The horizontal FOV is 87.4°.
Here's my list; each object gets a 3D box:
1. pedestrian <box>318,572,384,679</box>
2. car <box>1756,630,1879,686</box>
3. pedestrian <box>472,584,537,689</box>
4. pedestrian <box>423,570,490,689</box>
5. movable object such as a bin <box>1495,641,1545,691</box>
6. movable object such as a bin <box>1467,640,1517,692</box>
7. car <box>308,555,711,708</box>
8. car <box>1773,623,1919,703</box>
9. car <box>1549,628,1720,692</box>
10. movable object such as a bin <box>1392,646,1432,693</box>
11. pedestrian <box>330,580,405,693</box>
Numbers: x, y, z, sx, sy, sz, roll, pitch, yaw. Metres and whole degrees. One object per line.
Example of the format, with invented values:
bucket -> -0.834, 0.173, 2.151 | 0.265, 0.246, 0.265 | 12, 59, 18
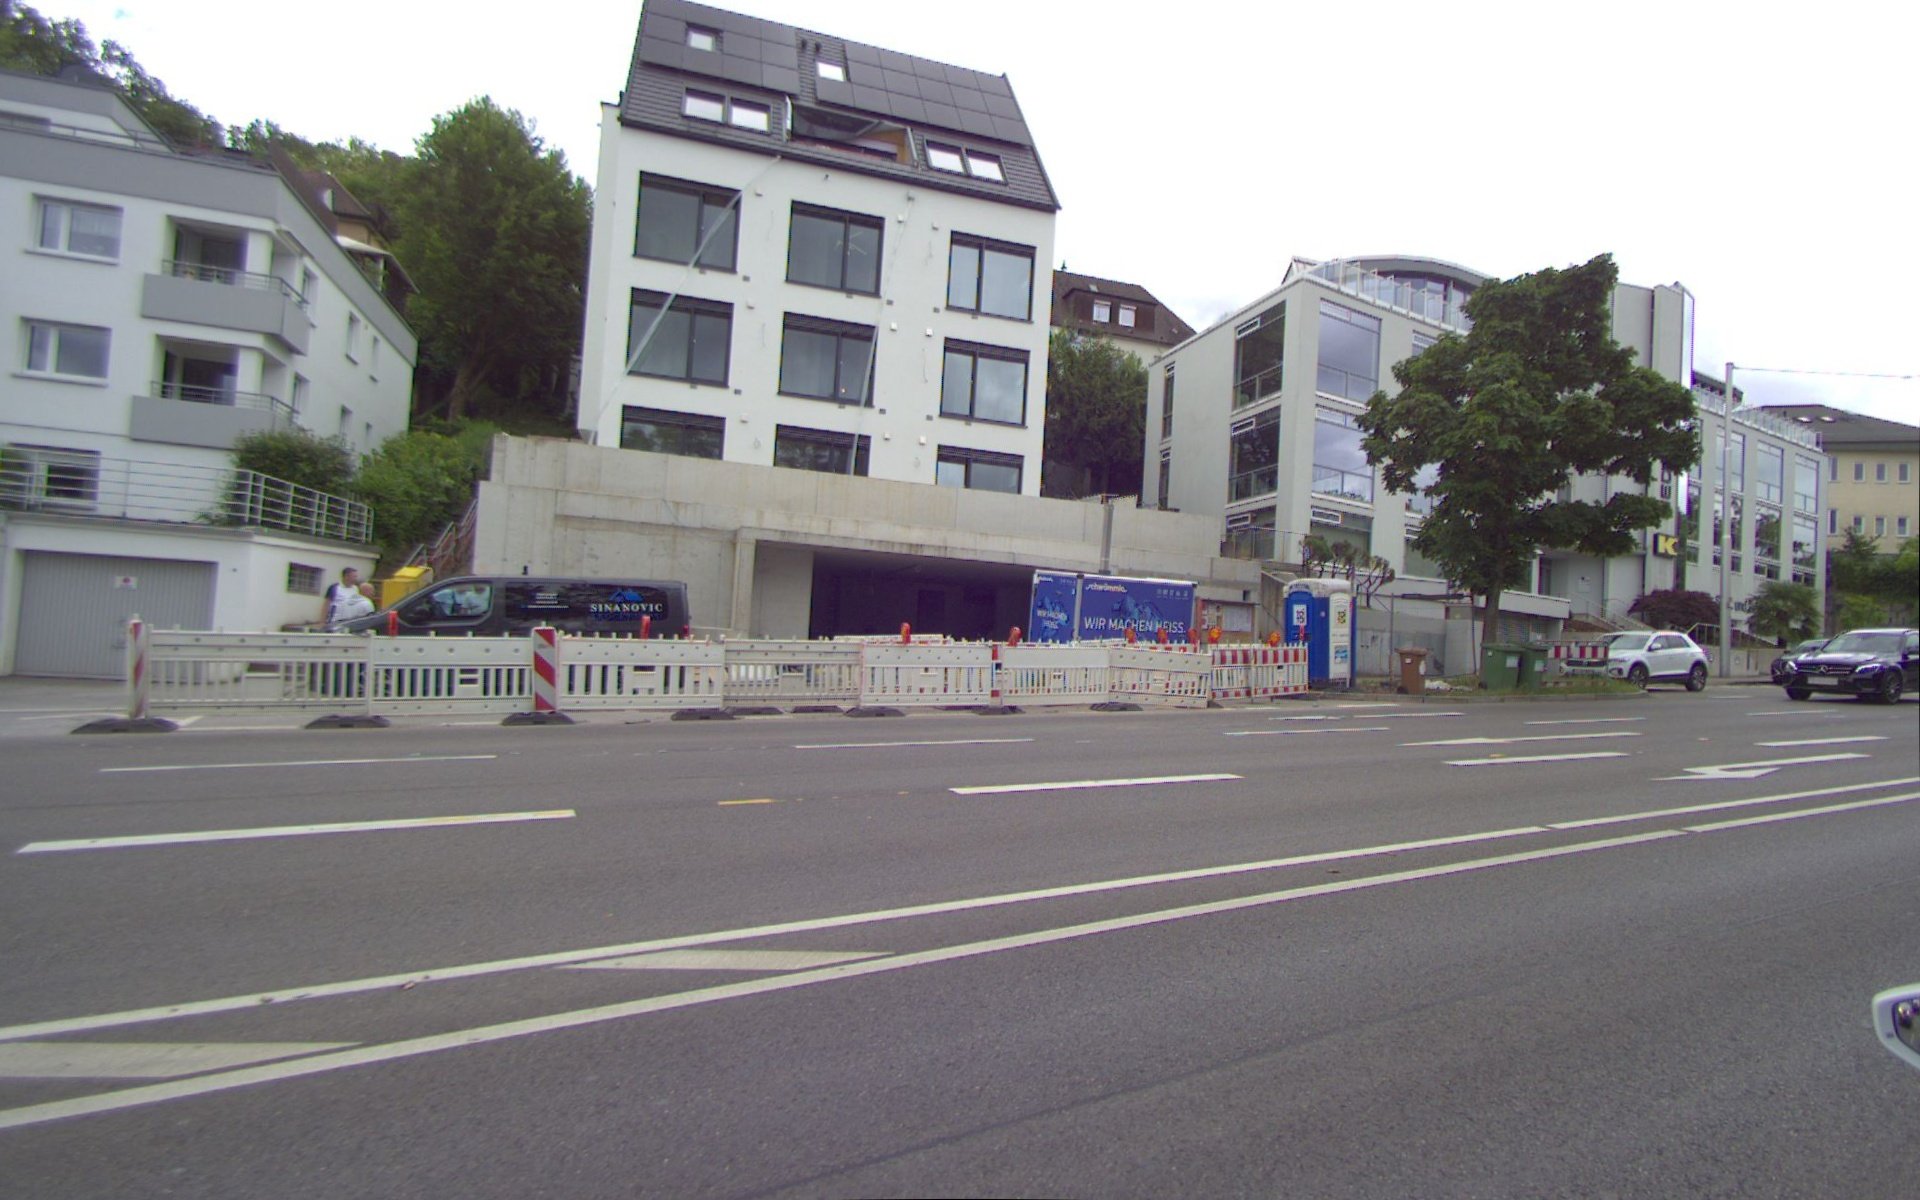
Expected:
pedestrian -> -9.825, 0.402, 16.222 | 0.659, 1.662, 0.627 | 2, 1, -3
car -> 27.601, 1.853, 32.313 | 3.867, 1.655, 1.763 | 2, -1, -29
pedestrian -> -7.500, 0.592, 16.547 | 0.662, 1.662, 0.672 | 3, 1, 12
pedestrian -> -8.222, 0.468, 16.424 | 0.662, 1.865, 0.672 | 3, 1, 12
movable object such as a bin -> 11.806, 1.387, 21.195 | 0.650, 1.003, 0.644 | 1, 0, -20
movable object such as a bin -> 11.154, 1.375, 21.059 | 0.650, 1.029, 0.644 | 1, 0, -20
car -> -6.535, 0.487, 15.076 | 5.147, 1.993, 1.977 | 2, -1, -25
car -> 20.599, 1.398, 22.790 | 4.087, 1.655, 1.765 | 2, -1, -25
car -> 17.580, 1.543, 26.170 | 4.246, 1.518, 1.765 | 2, -1, -25
movable object such as a bin -> 9.128, 1.395, 20.281 | 0.648, 0.891, 0.646 | 1, 0, 31
pedestrian -> -9.087, 0.539, 15.418 | 0.662, 1.662, 0.672 | 3, 1, 12
